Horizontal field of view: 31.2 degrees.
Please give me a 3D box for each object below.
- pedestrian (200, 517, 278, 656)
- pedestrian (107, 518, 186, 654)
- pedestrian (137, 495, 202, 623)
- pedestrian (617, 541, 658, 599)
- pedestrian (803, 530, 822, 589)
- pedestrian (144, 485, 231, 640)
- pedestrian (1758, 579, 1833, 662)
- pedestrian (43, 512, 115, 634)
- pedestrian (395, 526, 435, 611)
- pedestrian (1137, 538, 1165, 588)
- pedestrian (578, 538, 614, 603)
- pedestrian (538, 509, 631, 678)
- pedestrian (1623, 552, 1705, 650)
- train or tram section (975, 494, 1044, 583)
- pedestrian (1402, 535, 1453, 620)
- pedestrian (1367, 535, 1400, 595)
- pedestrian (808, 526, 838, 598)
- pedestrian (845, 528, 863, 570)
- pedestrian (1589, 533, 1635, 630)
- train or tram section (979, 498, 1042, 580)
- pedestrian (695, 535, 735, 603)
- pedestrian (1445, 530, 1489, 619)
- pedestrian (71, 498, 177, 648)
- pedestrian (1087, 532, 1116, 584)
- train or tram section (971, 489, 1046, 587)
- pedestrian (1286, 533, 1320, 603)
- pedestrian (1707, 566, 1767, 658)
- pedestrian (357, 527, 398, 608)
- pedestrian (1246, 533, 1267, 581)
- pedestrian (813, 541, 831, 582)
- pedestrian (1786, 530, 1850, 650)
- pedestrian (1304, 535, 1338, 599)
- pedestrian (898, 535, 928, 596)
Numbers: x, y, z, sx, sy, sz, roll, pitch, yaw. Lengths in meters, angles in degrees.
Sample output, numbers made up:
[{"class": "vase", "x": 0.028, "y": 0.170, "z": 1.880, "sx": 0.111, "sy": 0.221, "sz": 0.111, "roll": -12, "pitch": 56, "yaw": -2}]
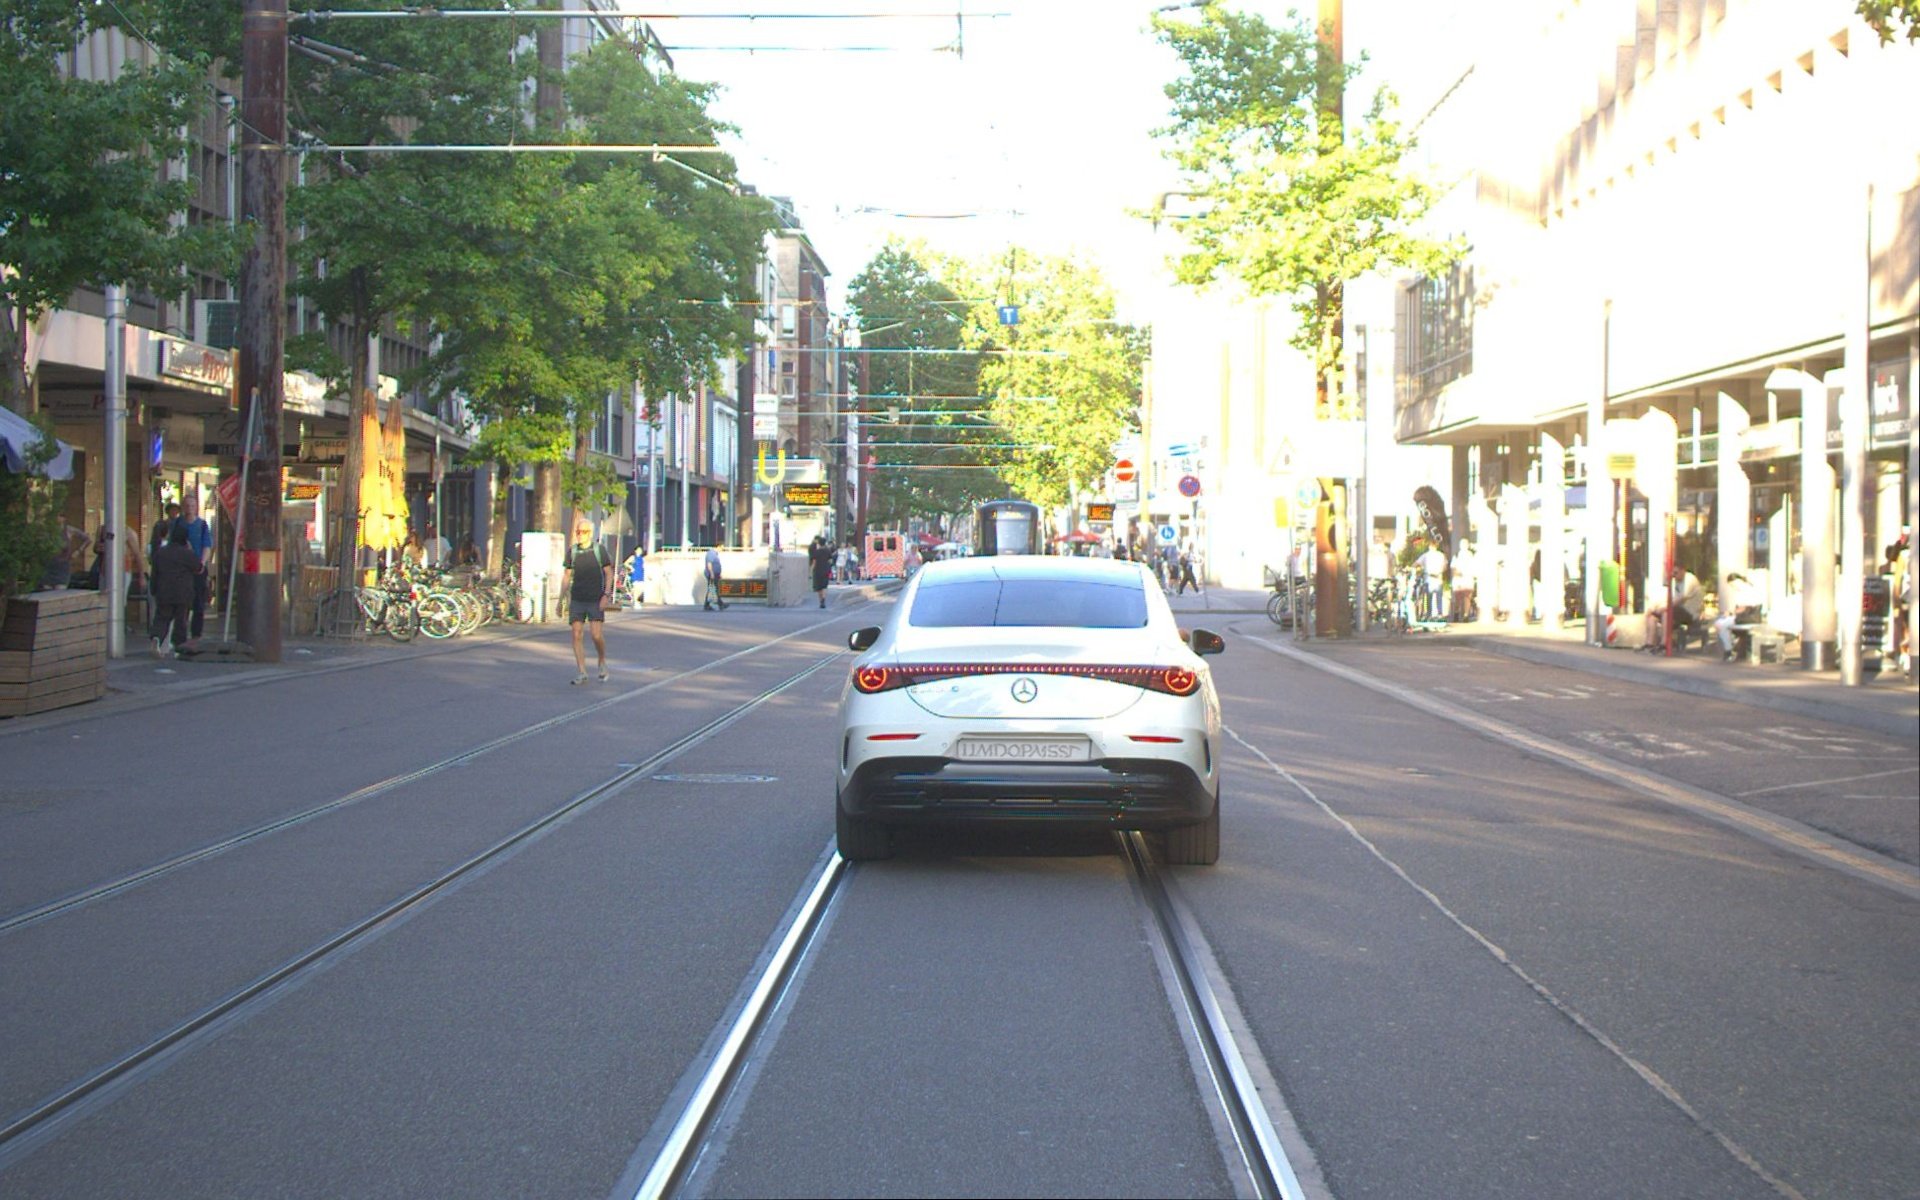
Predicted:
[{"class": "pedestrian", "x": -8.245, "y": -0.161, "z": 39.348, "sx": 0.622, "sy": 1.545, "sz": 0.852, "roll": 3, "pitch": 1, "yaw": 2}, {"class": "pedestrian", "x": -9.293, "y": -0.164, "z": 39.282, "sx": 0.622, "sy": 1.504, "sz": 0.833, "roll": 3, "pitch": 1, "yaw": 2}, {"class": "pedestrian", "x": -11.405, "y": -0.599, "z": 49.625, "sx": 0.622, "sy": 1.797, "sz": 0.933, "roll": 3, "pitch": 1, "yaw": 2}, {"class": "pedestrian", "x": -8.281, "y": -0.774, "z": 88.299, "sx": 0.955, "sy": 1.491, "sz": 0.944, "roll": 0, "pitch": 1, "yaw": 2}, {"class": "pedestrian", "x": -4.359, "y": -1.200, "z": 101.544, "sx": 0.519, "sy": 1.754, "sz": 0.551, "roll": 0, "pitch": 1, "yaw": -1}, {"class": "pedestrian", "x": -9.873, "y": -0.481, "z": 43.965, "sx": 0.800, "sy": 1.917, "sz": 1.071, "roll": 3, "pitch": 1, "yaw": -2}, {"class": "pedestrian", "x": 10.750, "y": 0.259, "z": 44.241, "sx": 0.836, "sy": 1.027, "sz": 0.696, "roll": 1, "pitch": 1, "yaw": 6}, {"class": "pedestrian", "x": -11.300, "y": -0.355, "z": 44.102, "sx": 0.622, "sy": 1.520, "sz": 0.809, "roll": 3, "pitch": 1, "yaw": 2}, {"class": "pedestrian", "x": -10.576, "y": -0.613, "z": 66.753, "sx": 0.714, "sy": 1.634, "sz": 0.685, "roll": 0, "pitch": 1, "yaw": -5}, {"class": "pedestrian", "x": 6.997, "y": -1.354, "z": 125.810, "sx": 0.960, "sy": 1.779, "sz": 0.804, "roll": -1, "pitch": 1, "yaw": 1}, {"class": "pedestrian", "x": -9.617, "y": -0.790, "z": 90.843, "sx": 0.838, "sy": 1.711, "sz": 0.785, "roll": 0, "pitch": 1, "yaw": 3}, {"class": "pedestrian", "x": -4.113, "y": -0.080, "z": 37.663, "sx": 0.841, "sy": 1.795, "sz": 0.790, "roll": 2, "pitch": 1, "yaw": 2}, {"class": "pedestrian", "x": 10.066, "y": 0.006, "z": 49.151, "sx": 0.833, "sy": 1.372, "sz": 0.778, "roll": 1, "pitch": 1, "yaw": -21}, {"class": "train or tram section", "x": 2.071, "y": -2.527, "z": 142.091, "sx": 2.694, "sy": 3.504, "sz": 12.545, "roll": 0, "pitch": 1, "yaw": 1}, {"class": "pedestrian", "x": 9.842, "y": -0.468, "z": 72.431, "sx": 0.899, "sy": 1.739, "sz": 0.689, "roll": -3, "pitch": 1, "yaw": 1}, {"class": "pedestrian", "x": 11.719, "y": -0.966, "z": 95.074, "sx": 0.838, "sy": 1.656, "sz": 0.785, "roll": 0, "pitch": 1, "yaw": 3}, {"class": "pedestrian", "x": -3.641, "y": -1.010, "z": 91.417, "sx": 0.540, "sy": 1.922, "sz": 0.571, "roll": 1, "pitch": 1, "yaw": 45}, {"class": "pedestrian", "x": -4.010, "y": -1.945, "z": 130.577, "sx": 0.660, "sy": 1.593, "sz": 0.573, "roll": 0, "pitch": 1, "yaw": 0}, {"class": "pedestrian", "x": 11.140, "y": -0.319, "z": 58.763, "sx": 0.637, "sy": 1.647, "sz": 0.781, "roll": 1, "pitch": 1, "yaw": 2}, {"class": "train or tram section", "x": 2.276, "y": -2.720, "z": 153.929, "sx": 2.694, "sy": 3.504, "sz": 11.143, "roll": 0, "pitch": 1, "yaw": 1}, {"class": "pedestrian", "x": -6.183, "y": -0.786, "z": 86.858, "sx": 0.905, "sy": 1.693, "sz": 0.849, "roll": 0, "pitch": 1, "yaw": 2}, {"class": "pedestrian", "x": 10.603, "y": -0.538, "z": 71.933, "sx": 0.701, "sy": 1.806, "sz": 1.033, "roll": -3, "pitch": 1, "yaw": 1}, {"class": "pedestrian", "x": -9.957, "y": -0.318, "z": 40.953, "sx": 0.850, "sy": 1.735, "sz": 0.834, "roll": 3, "pitch": 1, "yaw": 21}, {"class": "pedestrian", "x": 4.924, "y": -1.472, "z": 119.940, "sx": 0.960, "sy": 1.779, "sz": 0.804, "roll": -1, "pitch": 1, "yaw": 1}, {"class": "train or tram section", "x": 1.846, "y": -2.317, "z": 129.541, "sx": 2.694, "sy": 3.504, "sz": 12.545, "roll": 0, "pitch": 1, "yaw": 1}, {"class": "pedestrian", "x": 8.800, "y": -0.830, "z": 88.206, "sx": 0.748, "sy": 1.779, "sz": 0.767, "roll": -1, "pitch": 1, "yaw": 1}, {"class": "pedestrian", "x": 10.314, "y": 0.149, "z": 45.673, "sx": 0.666, "sy": 1.194, "sz": 0.784, "roll": 1, "pitch": 1, "yaw": 6}, {"class": "pedestrian", "x": -11.265, "y": -0.630, "z": 66.487, "sx": 0.714, "sy": 1.542, "sz": 0.685, "roll": 0, "pitch": 1, "yaw": -5}, {"class": "pedestrian", "x": 11.099, "y": -1.615, "z": 128.812, "sx": 0.727, "sy": 1.779, "sz": 0.707, "roll": 1, "pitch": 1, "yaw": 1}, {"class": "pedestrian", "x": -5.439, "y": -1.507, "z": 135.475, "sx": 0.660, "sy": 1.593, "sz": 0.573, "roll": 0, "pitch": 1, "yaw": 0}, {"class": "pedestrian", "x": 12.522, "y": -0.154, "z": 50.181, "sx": 0.715, "sy": 1.735, "sz": 0.835, "roll": 1, "pitch": 1, "yaw": 1}, {"class": "pedestrian", "x": 10.113, "y": -0.921, "z": 96.214, "sx": 0.841, "sy": 1.779, "sz": 0.804, "roll": -1, "pitch": 1, "yaw": 1}, {"class": "pedestrian", "x": -1.400, "y": -1.018, "z": 102.296, "sx": 0.800, "sy": 1.776, "sz": 0.849, "roll": 2, "pitch": 1, "yaw": 0}]
